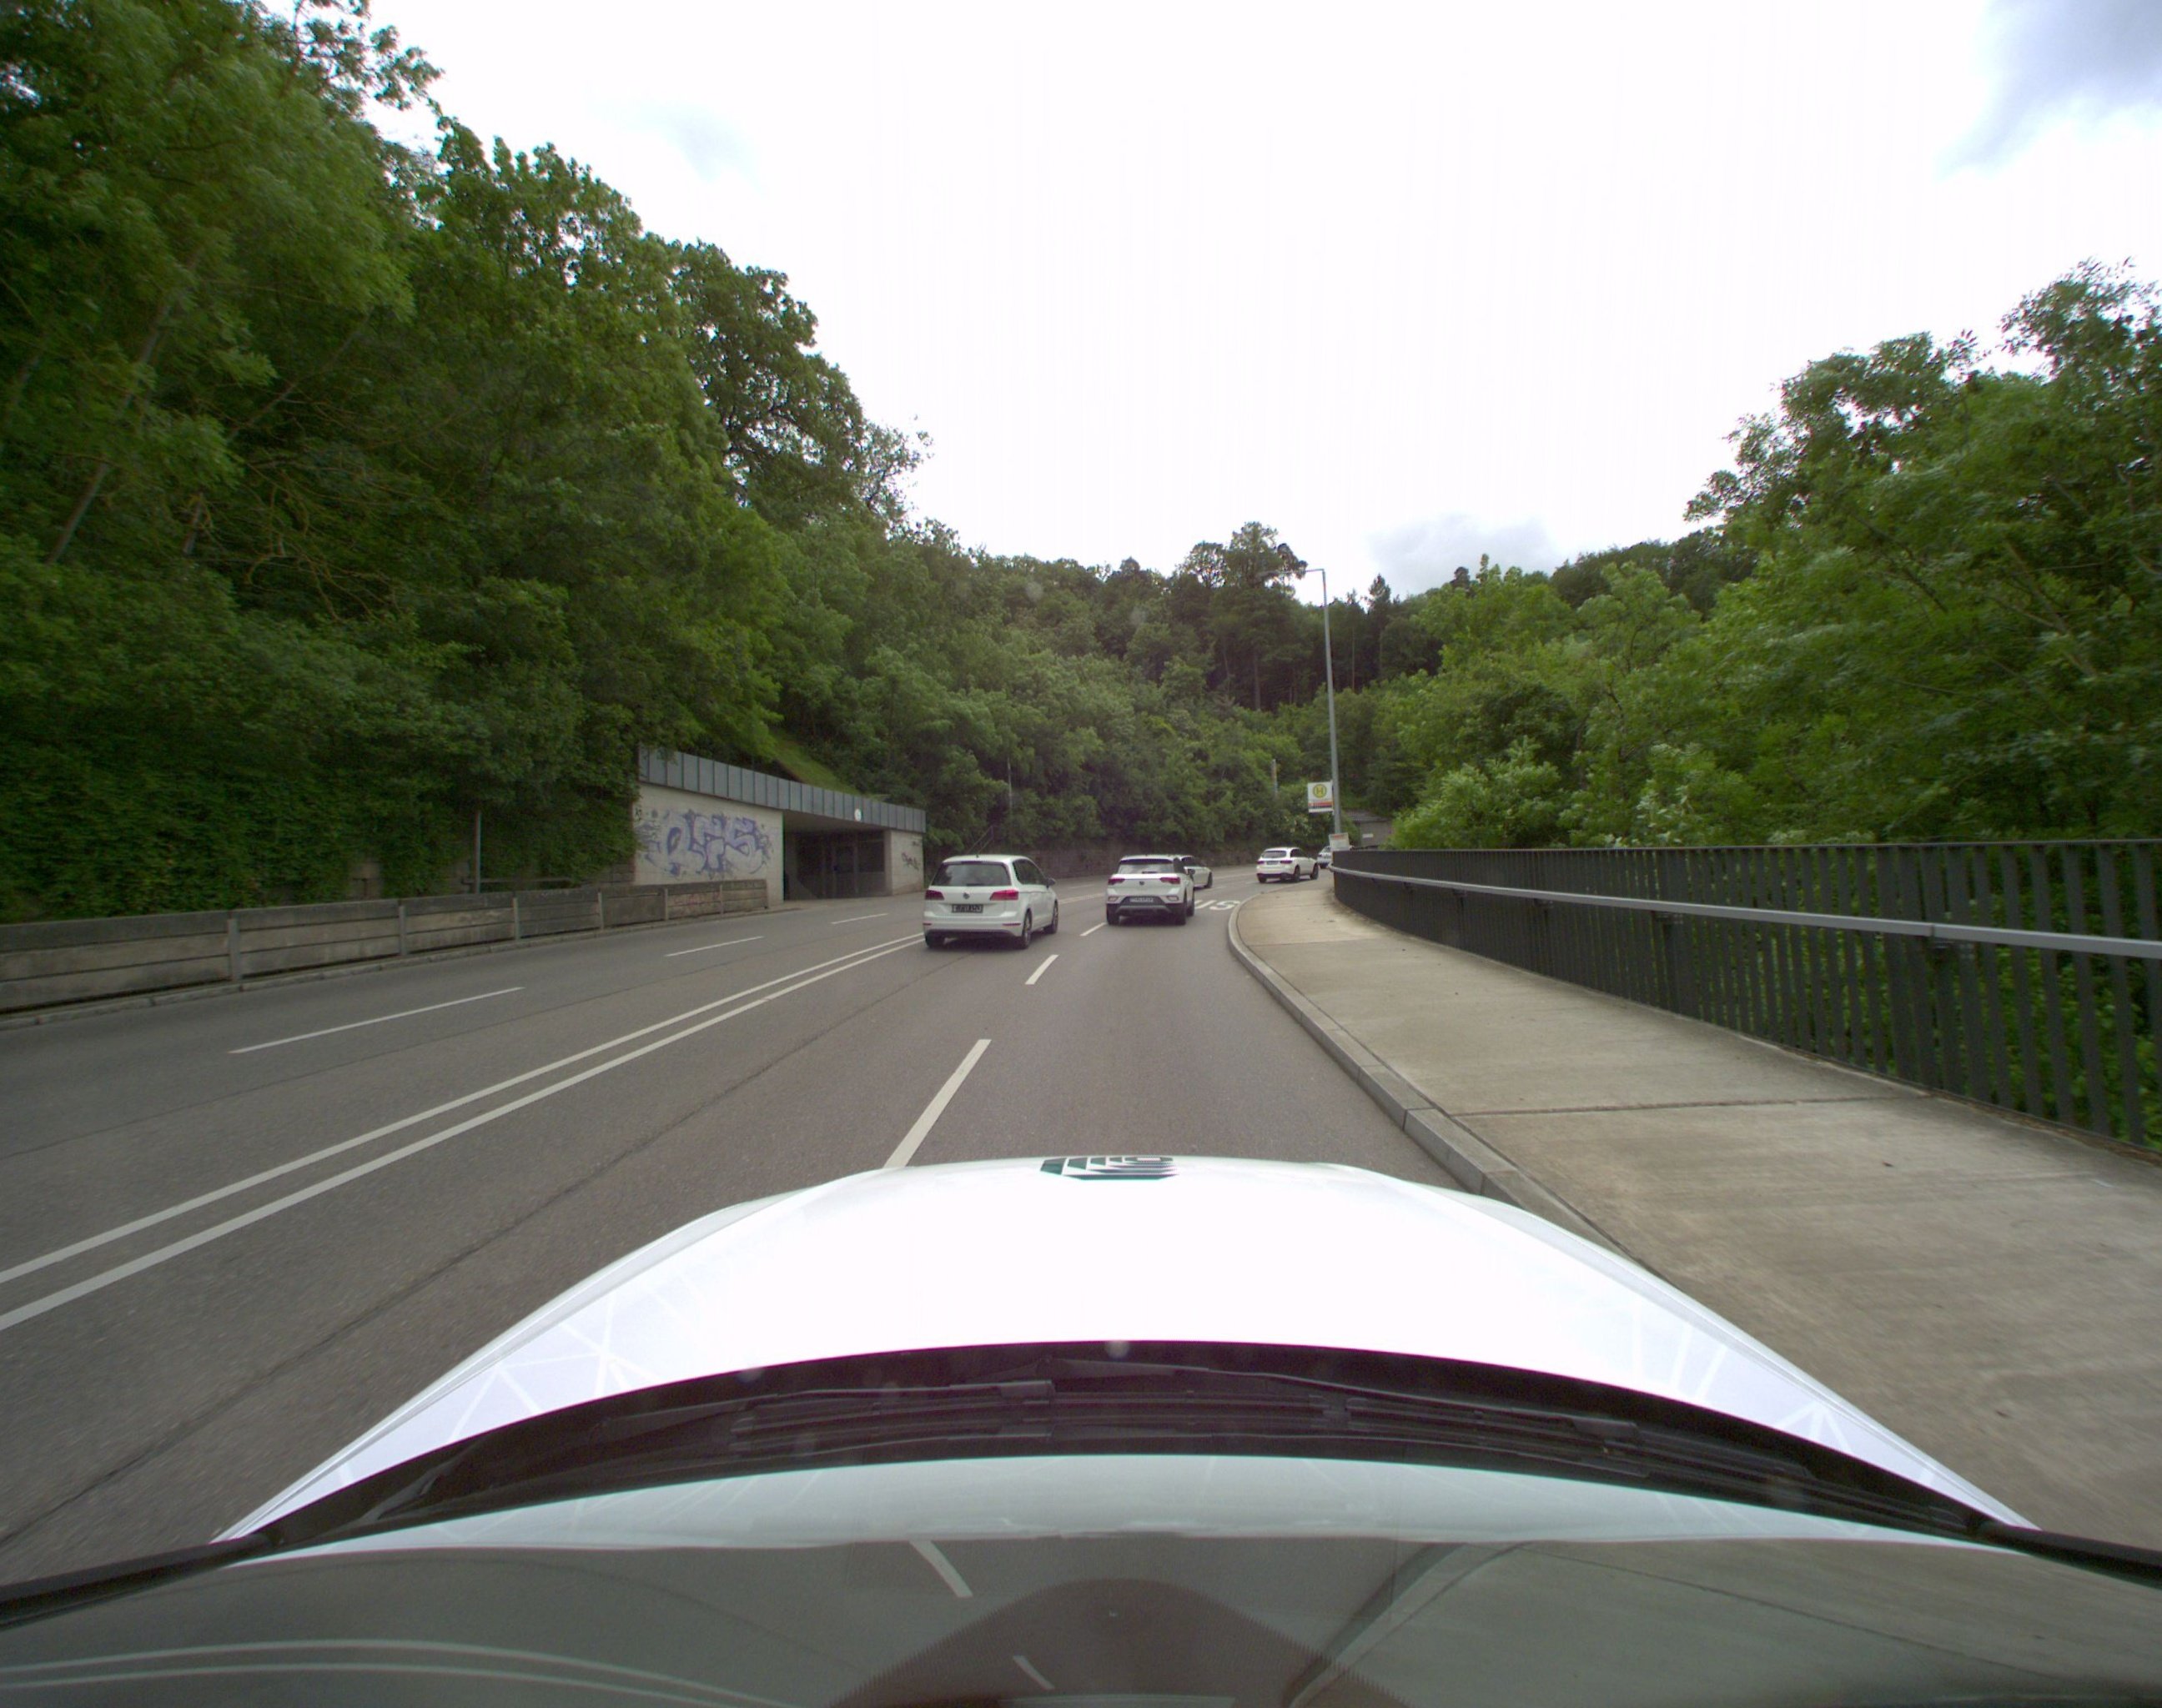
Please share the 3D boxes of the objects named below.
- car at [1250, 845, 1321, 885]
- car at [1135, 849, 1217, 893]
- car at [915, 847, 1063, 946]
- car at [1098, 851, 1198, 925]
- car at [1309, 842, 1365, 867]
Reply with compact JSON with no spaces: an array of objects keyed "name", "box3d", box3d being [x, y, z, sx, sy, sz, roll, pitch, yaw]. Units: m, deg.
[{"name":"car","box3d":[9.859,0.522,39.127,1.974,1.843,4.176,0,-1,34]},{"name":"car","box3d":[4.008,0.633,33.551,1.976,1.557,4.708,1,1,24]},{"name":"car","box3d":[-1.508,0.685,15.043,1.711,1.554,4.284,-1,0,7]},{"name":"car","box3d":[1.703,0.758,19.402,1.801,1.539,4.022,-2,-1,12]},{"name":"car","box3d":[16.633,0.067,52.813,1.725,1.519,4.334,0,-1,43]}]
